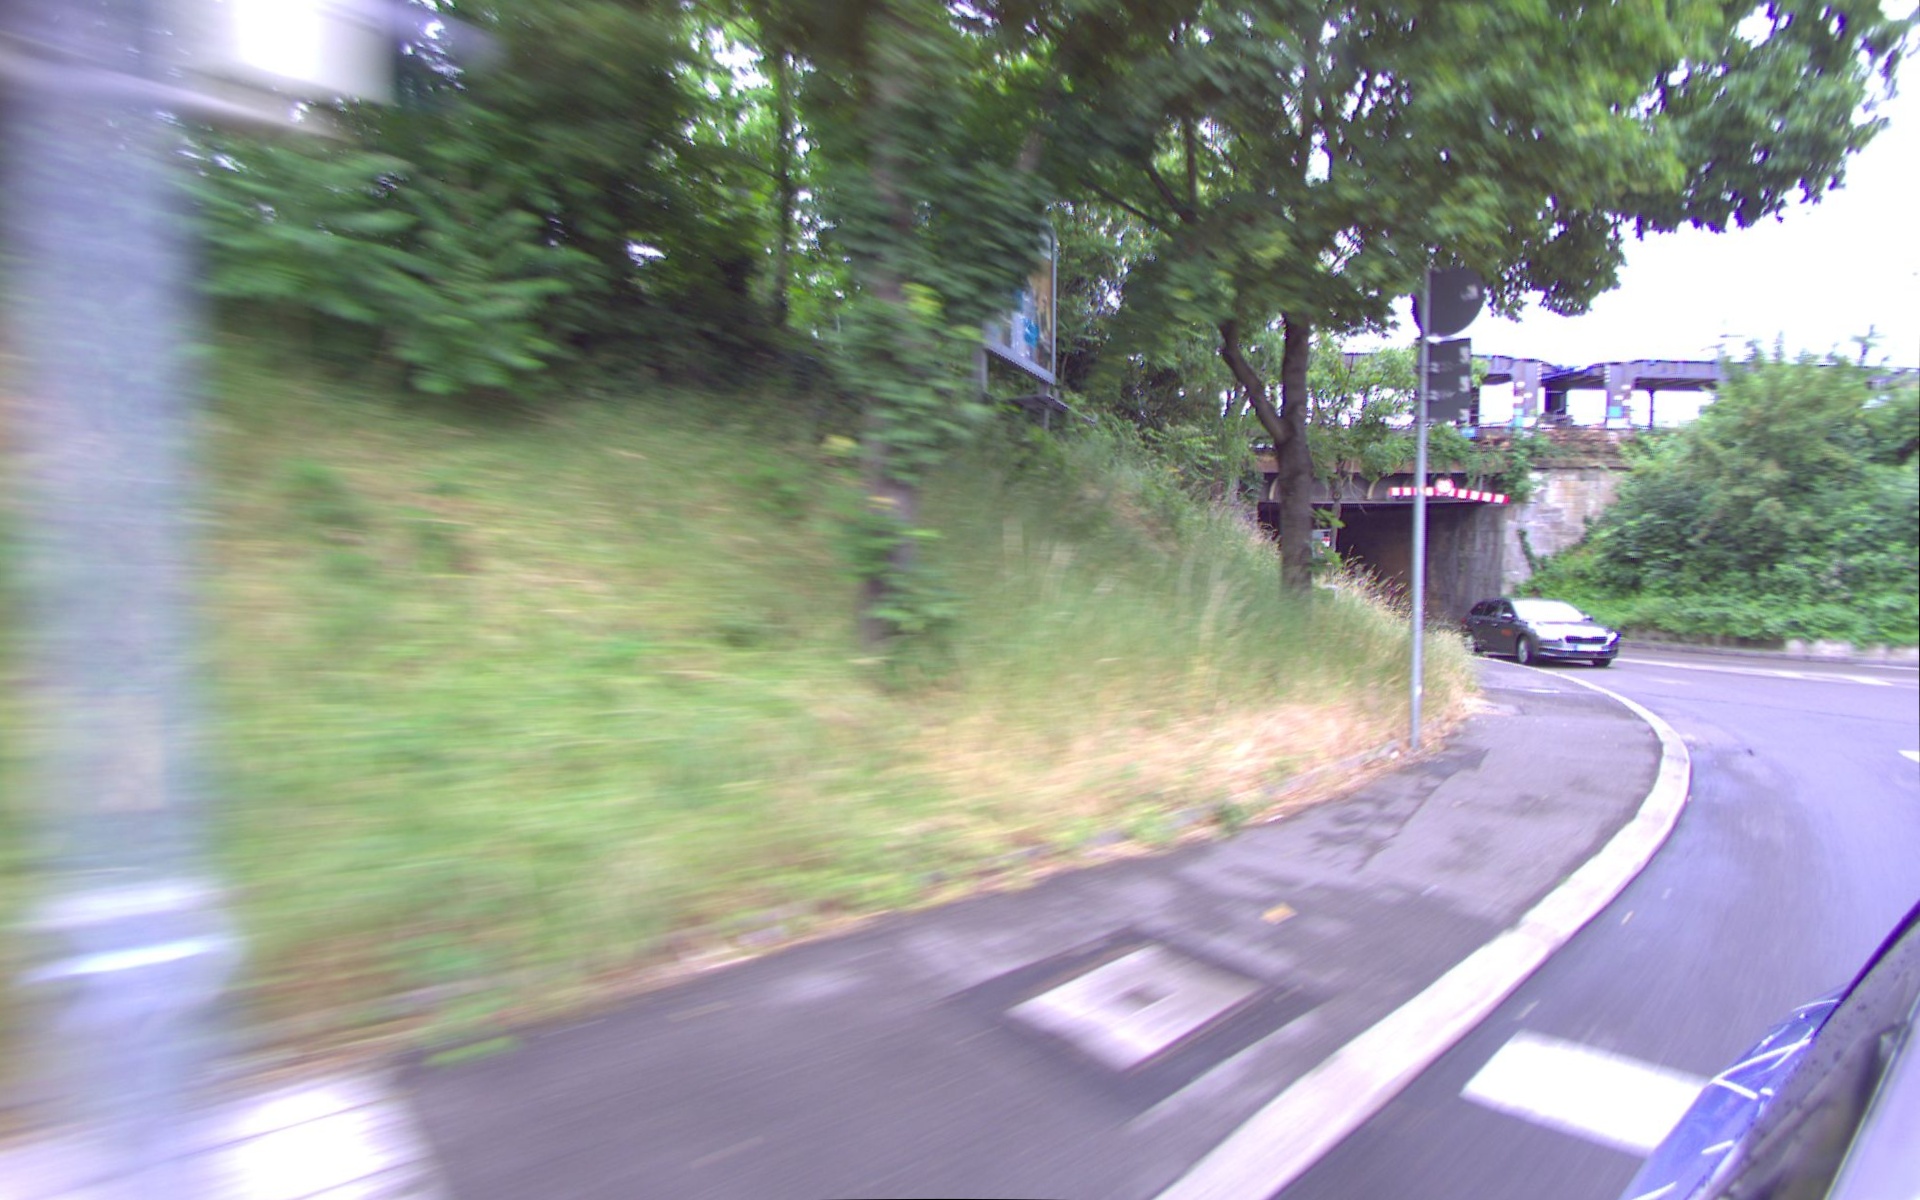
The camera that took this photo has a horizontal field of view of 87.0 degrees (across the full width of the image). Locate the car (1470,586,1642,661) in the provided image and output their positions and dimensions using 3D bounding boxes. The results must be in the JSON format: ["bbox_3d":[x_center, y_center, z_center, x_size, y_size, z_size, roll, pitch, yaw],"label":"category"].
[{"bbox_3d":[13.211,0.463,22.743,1.780,1.537,4.046,0,0,6],"label":"car"}]
